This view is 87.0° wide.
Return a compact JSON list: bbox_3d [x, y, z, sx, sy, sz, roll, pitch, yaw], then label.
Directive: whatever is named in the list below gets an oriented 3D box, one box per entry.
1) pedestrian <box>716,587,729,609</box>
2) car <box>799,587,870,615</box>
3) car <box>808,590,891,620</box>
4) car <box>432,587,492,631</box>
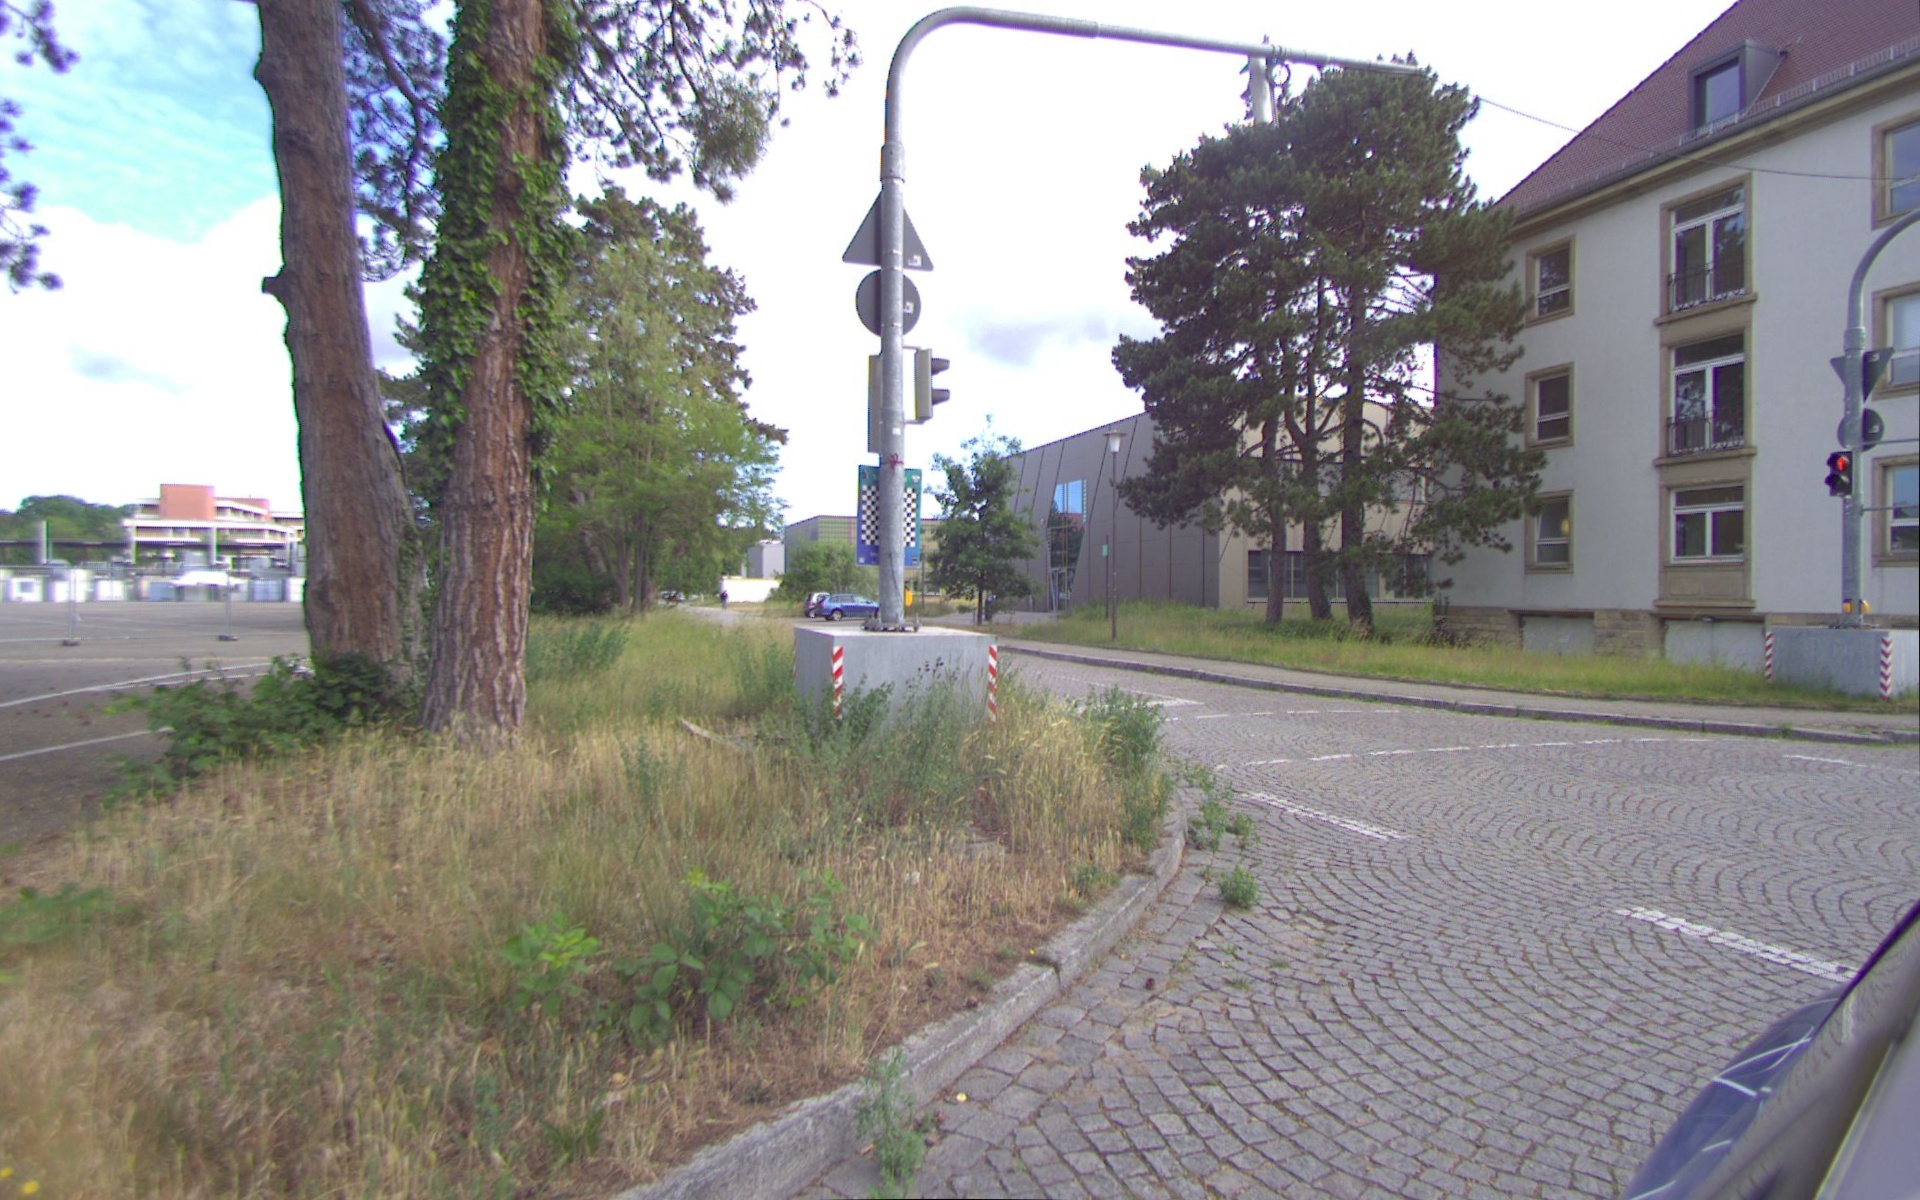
[{"bbox_3d":[-18.942,-0.144,80.676,0.857,1.745,1.009,0,0,-21],"label":"pedestrian"},{"bbox_3d":[-8.009,0.058,64.638,4.109,1.606,1.842,-3,2,-23],"label":"car"},{"bbox_3d":[-6.252,0.245,57.348,4.326,1.481,1.842,-3,2,-23],"label":"car"},{"bbox_3d":[-18.282,0.292,37.284,1.826,1.493,4.159,0,1,-24],"label":"car"}]
